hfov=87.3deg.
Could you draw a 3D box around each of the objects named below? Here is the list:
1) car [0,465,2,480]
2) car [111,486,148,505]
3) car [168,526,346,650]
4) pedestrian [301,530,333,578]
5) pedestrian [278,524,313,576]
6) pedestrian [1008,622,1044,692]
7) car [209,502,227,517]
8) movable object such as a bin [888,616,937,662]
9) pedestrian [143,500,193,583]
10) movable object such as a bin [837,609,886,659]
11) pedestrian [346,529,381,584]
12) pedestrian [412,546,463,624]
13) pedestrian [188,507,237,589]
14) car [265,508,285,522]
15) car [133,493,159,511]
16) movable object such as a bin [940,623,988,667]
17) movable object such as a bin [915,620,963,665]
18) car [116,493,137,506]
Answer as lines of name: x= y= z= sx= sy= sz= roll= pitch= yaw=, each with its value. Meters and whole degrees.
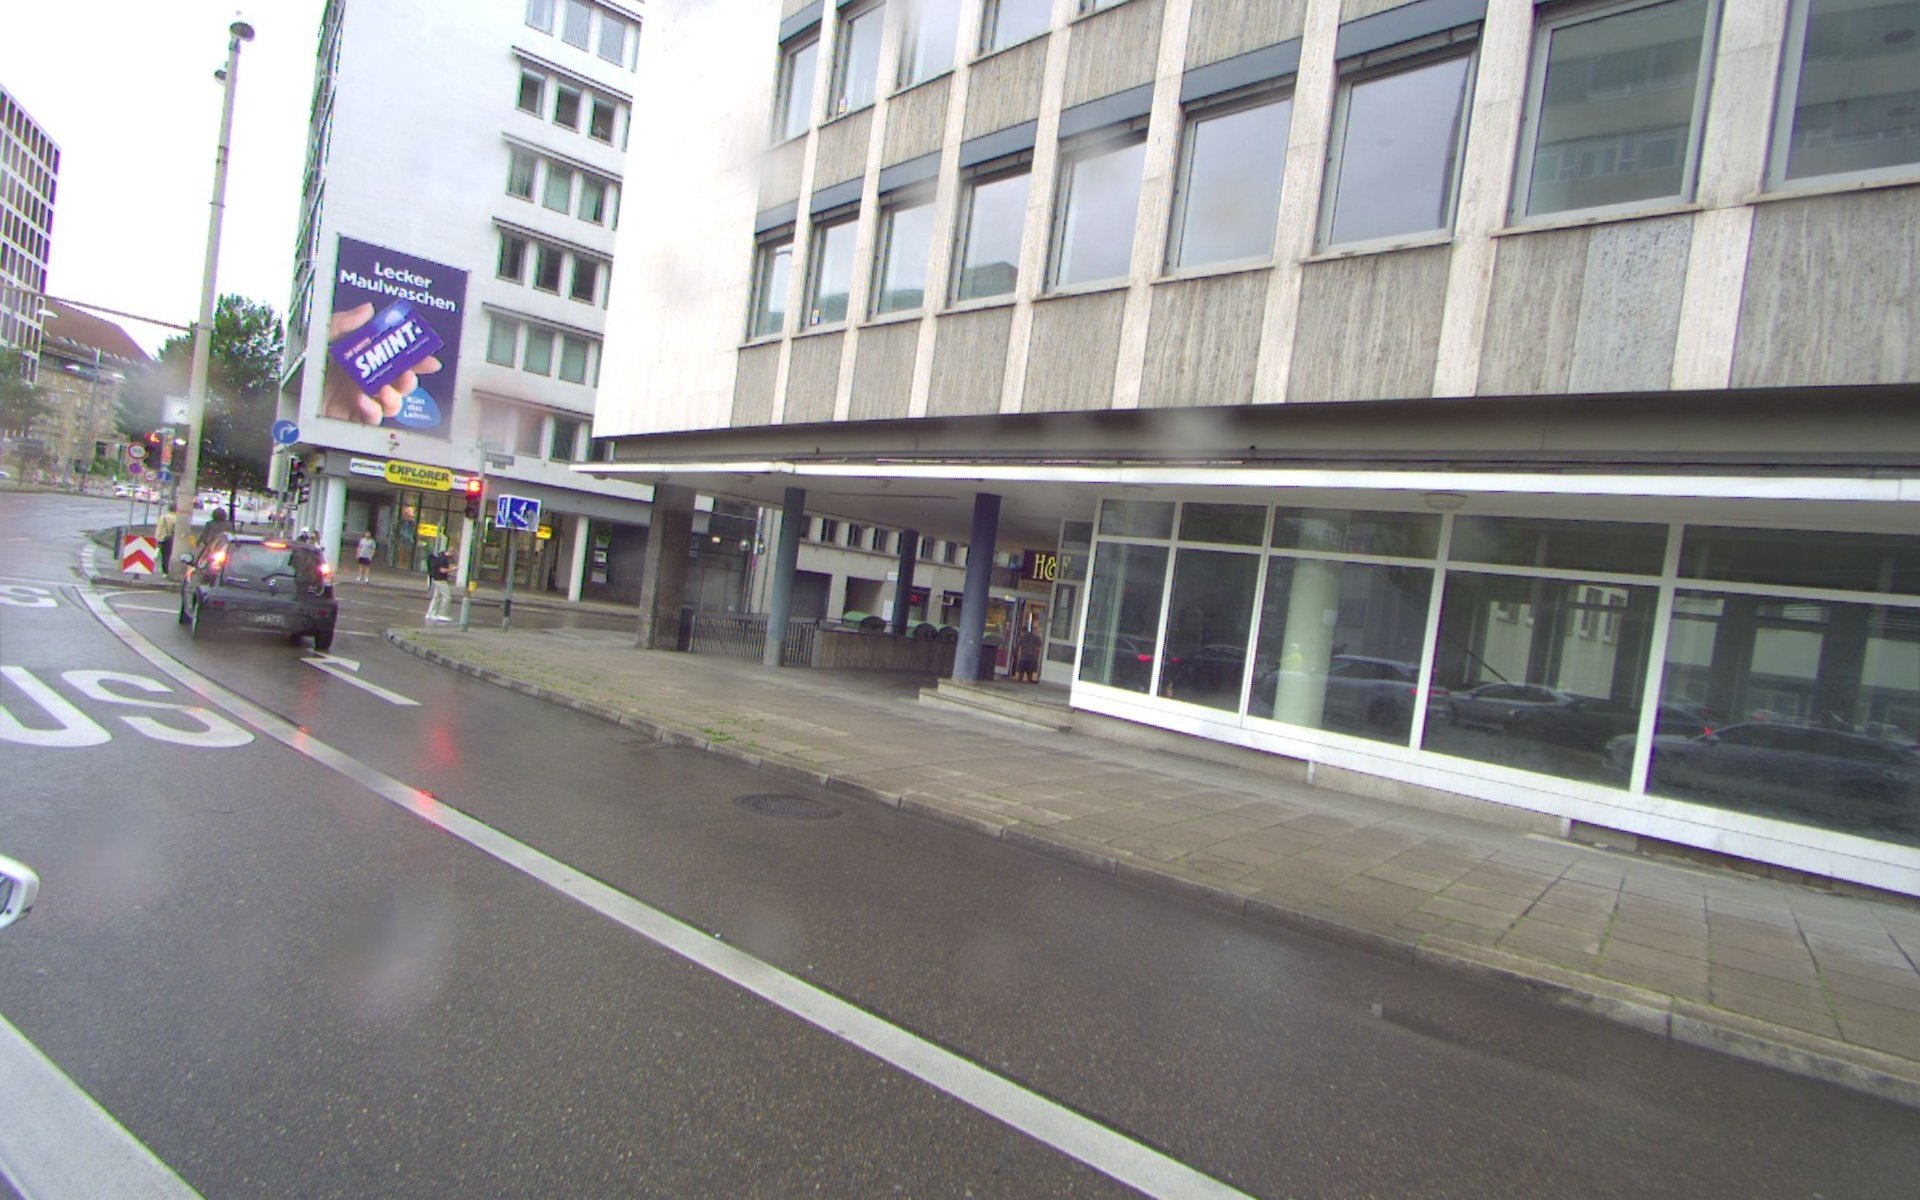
car: x=-115.780 y=-15.448 z=119.603 sx=1.592 sy=1.761 sz=3.424 roll=8 pitch=-2 yaw=-26
car: x=-127.629 y=-16.063 z=154.668 sx=3.961 sy=2.037 sz=1.983 roll=9 pitch=-1 yaw=-32
car: x=-10.458 y=-0.234 z=14.842 sx=1.566 sy=1.446 sz=3.953 roll=9 pitch=-2 yaw=-42
pedestrian: x=-22.213 y=-1.591 z=34.761 sx=0.616 sy=1.561 sz=0.651 roll=8 pitch=0 yaw=-15
pedestrian: x=-22.847 y=-1.726 z=34.605 sx=0.660 sy=1.675 sz=0.651 roll=8 pitch=0 yaw=-15
pedestrian: x=1.800 y=1.548 z=27.612 sx=0.697 sy=1.825 sz=0.800 roll=8 pitch=0 yaw=0
car: x=-126.626 y=-15.467 z=171.678 sx=1.980 sy=2.037 sz=3.968 roll=8 pitch=-1 yaw=-31
movable object such as a bin: x=-1.671 y=1.369 z=35.226 sx=1.095 sy=1.399 sz=1.186 roll=7 pitch=1 yaw=-37
pedestrian: x=-18.438 y=-1.368 z=23.438 sx=0.745 sy=1.820 sz=0.808 roll=7 pitch=1 yaw=-38
movable object such as a bin: x=-3.280 y=1.129 z=33.538 sx=0.961 sy=1.447 sz=1.268 roll=7 pitch=1 yaw=-36
pedestrian: x=-20.950 y=-1.527 z=35.336 sx=0.660 sy=1.815 sz=0.771 roll=7 pitch=0 yaw=-15
pedestrian: x=-12.522 y=-0.352 z=24.093 sx=0.768 sy=1.752 sz=0.589 roll=7 pitch=0 yaw=-44
pedestrian: x=-17.687 y=-1.225 z=23.809 sx=0.745 sy=1.820 sz=0.808 roll=7 pitch=1 yaw=-38
car: x=-91.737 y=-11.385 z=134.721 sx=1.680 sy=1.503 sz=3.973 roll=8 pitch=-2 yaw=-28
car: x=-94.183 y=-11.289 z=116.452 sx=1.878 sy=1.662 sz=3.962 roll=8 pitch=-1 yaw=-35
movable object such as a bin: x=0.154 y=1.636 z=36.640 sx=1.095 sy=1.399 sz=1.186 roll=7 pitch=1 yaw=-37
movable object such as a bin: x=-0.750 y=1.509 z=35.952 sx=1.095 sy=1.399 sz=1.186 roll=7 pitch=1 yaw=-37
car: x=-108.712 y=-13.072 z=131.232 sx=1.622 sy=1.454 sz=3.871 roll=8 pitch=0 yaw=-34
